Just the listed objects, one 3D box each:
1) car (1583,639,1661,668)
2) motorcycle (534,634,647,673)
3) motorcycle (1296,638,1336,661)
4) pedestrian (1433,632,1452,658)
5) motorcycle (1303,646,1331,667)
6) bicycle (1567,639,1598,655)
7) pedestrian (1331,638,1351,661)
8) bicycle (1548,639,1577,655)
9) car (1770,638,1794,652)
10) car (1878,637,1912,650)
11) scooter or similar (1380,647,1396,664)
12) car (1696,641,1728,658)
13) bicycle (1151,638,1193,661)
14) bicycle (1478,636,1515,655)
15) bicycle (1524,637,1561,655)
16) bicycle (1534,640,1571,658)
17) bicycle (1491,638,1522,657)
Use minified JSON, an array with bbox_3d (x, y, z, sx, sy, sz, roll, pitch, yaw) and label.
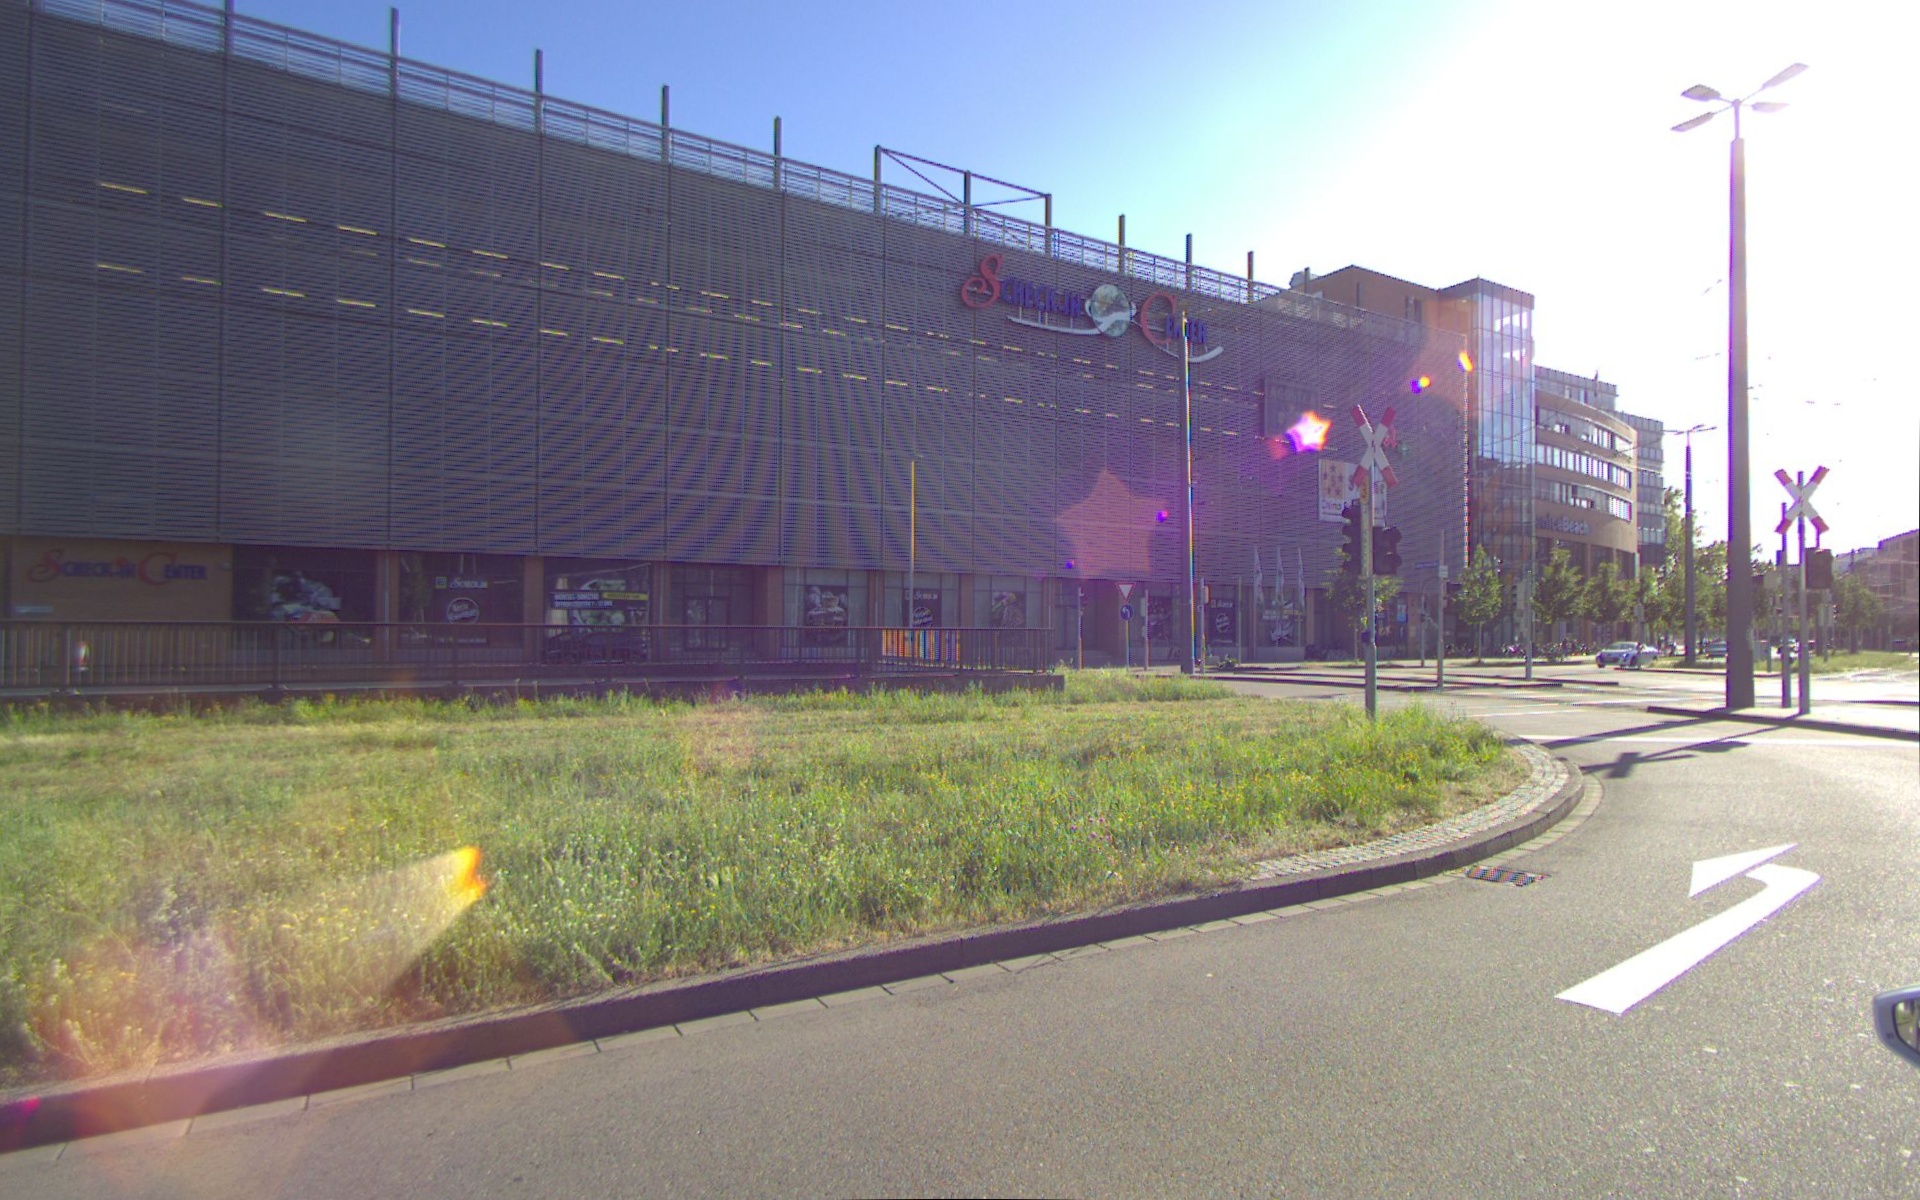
[{"bbox_3d":[36.835,2.945,55.887,4.480,1.566,1.983,1,-2,-32],"label":"car"},{"bbox_3d":[-14.657,2.072,39.867,3.953,1.472,1.984,1,-2,-31],"label":"motorcycle"},{"bbox_3d":[23.152,3.233,65.372,2.582,1.465,0.963,2,-2,-27],"label":"motorcycle"},{"bbox_3d":[34.567,3.225,71.945,0.894,1.848,0.823,3,-3,-29],"label":"pedestrian"},{"bbox_3d":[22.450,3.557,63.184,1.872,1.254,0.672,2,-3,-31],"label":"motorcycle"},{"bbox_3d":[56.772,4.299,91.579,0.777,1.452,2.417,2,-3,-21],"label":"bicycle"},{"bbox_3d":[26.064,3.377,68.677,0.819,1.586,0.983,3,-3,-30],"label":"pedestrian"},{"bbox_3d":[53.959,4.187,89.936,0.707,1.452,2.242,2,-3,-21],"label":"bicycle"},{"bbox_3d":[97.998,5.331,119.754,1.972,1.661,4.387,-1,-2,42],"label":"car"},{"bbox_3d":[132.349,6.152,142.246,4.350,1.661,1.989,2,-2,-24],"label":"car"},{"bbox_3d":[29.371,3.797,68.916,1.138,1.124,0.419,3,-3,-30],"label":"scooter or similar"},{"bbox_3d":[65.763,4.319,87.890,1.867,1.425,3.991,-1,-2,31],"label":"car"},{"bbox_3d":[11.941,2.782,56.536,2.384,1.237,0.797,2,-2,-27],"label":"bicycle"},{"bbox_3d":[41.554,3.539,77.840,1.060,1.452,2.366,2,-3,-21],"label":"bicycle"},{"bbox_3d":[46.731,3.676,80.657,0.891,1.452,2.558,2,-3,-21],"label":"bicycle"},{"bbox_3d":[48.440,4.000,82.142,0.891,1.452,2.558,2,-3,-21],"label":"bicycle"},{"bbox_3d":[42.544,3.665,78.236,0.848,1.452,2.080,2,-3,-21],"label":"bicycle"}]
